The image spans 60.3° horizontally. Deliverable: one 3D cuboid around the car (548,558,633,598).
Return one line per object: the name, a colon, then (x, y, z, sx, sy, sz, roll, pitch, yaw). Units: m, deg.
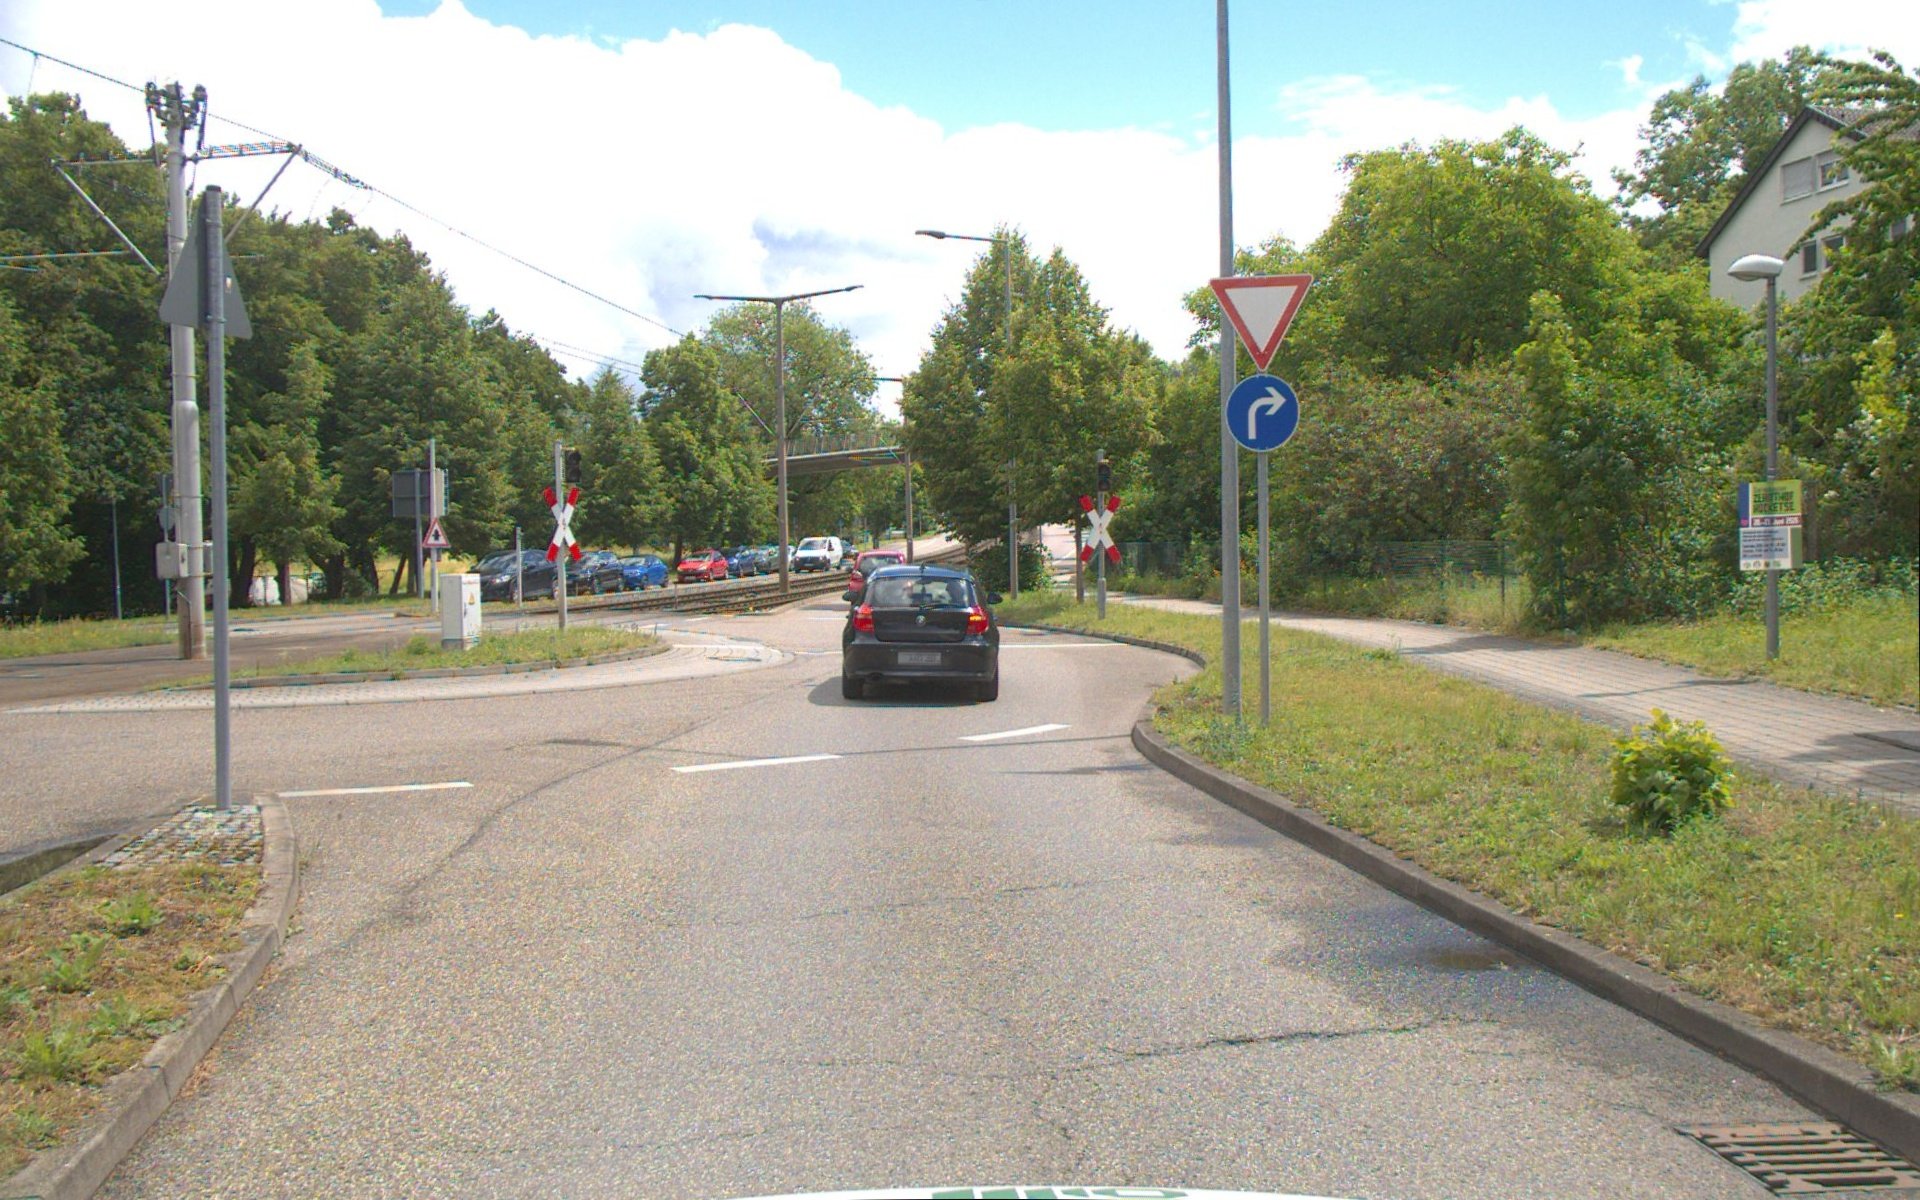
car: (-14.194, -0.855, 63.692, 1.839, 1.450, 3.534, -1, 1, 13)

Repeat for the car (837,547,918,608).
car: (-2.152, -0.556, 42.516, 1.733, 1.457, 3.472, -2, 0, -8)

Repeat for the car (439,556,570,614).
car: (-13.710, -0.488, 50.053, 1.951, 1.625, 4.424, -1, 1, 12)

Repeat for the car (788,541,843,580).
car: (-7.803, -2.136, 89.648, 1.951, 2.048, 4.004, -1, 1, 10)

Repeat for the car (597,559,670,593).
car: (-13.569, -1.016, 68.871, 1.767, 1.275, 3.572, -1, 2, 11)

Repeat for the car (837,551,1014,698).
car: (-0.478, 0.255, 18.921, 1.779, 1.445, 3.997, -2, 0, -4)

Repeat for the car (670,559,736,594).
car: (-12.234, -1.126, 78.894, 1.871, 1.588, 4.004, -1, 2, 10)
